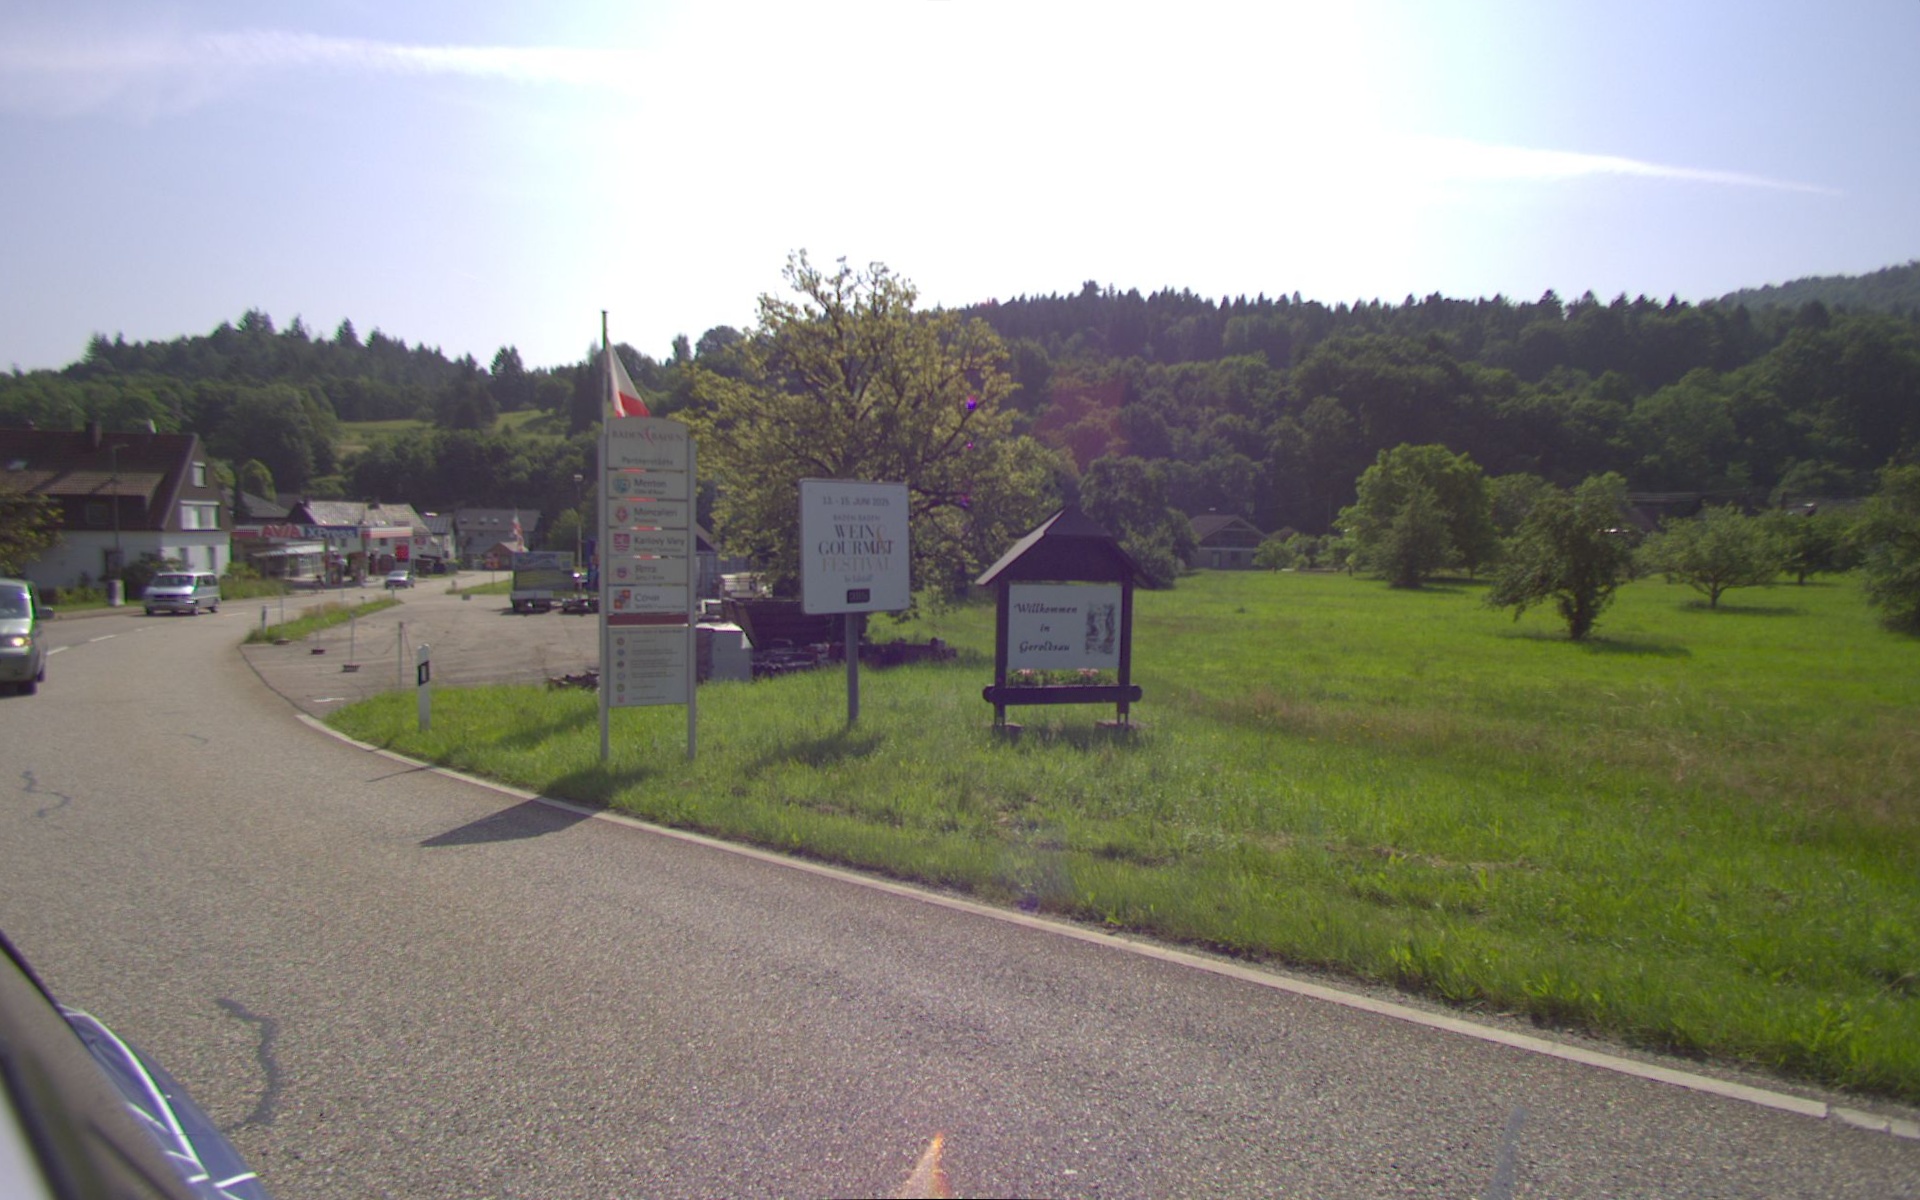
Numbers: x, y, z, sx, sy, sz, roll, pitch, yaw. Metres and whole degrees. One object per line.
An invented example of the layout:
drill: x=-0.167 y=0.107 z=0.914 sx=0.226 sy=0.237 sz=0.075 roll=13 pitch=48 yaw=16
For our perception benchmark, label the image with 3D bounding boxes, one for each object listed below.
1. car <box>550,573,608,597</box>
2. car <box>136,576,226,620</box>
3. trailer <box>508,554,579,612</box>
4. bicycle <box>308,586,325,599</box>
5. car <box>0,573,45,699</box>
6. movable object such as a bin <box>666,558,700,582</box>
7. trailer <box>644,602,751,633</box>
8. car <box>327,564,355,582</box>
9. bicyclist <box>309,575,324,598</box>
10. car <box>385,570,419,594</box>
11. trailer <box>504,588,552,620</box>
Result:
car: x=-28.721 y=-1.158 z=76.452 sx=1.816 sy=1.661 sz=4.892 roll=0 pitch=2 yaw=10
car: x=-35.376 y=-0.148 z=46.102 sx=1.864 sy=1.871 sz=4.719 roll=0 pitch=2 yaw=-20
trailer: x=-21.944 y=-0.935 z=53.318 sx=3.344 sy=2.933 sz=1.890 roll=-2 pitch=2 yaw=-24
bicycle: x=-47.482 y=-0.578 z=74.659 sx=0.678 sy=0.924 sz=1.956 roll=-3 pitch=1 yaw=-22
car: x=-17.317 y=0.527 z=17.498 sx=1.995 sy=1.997 sz=5.052 roll=2 pitch=-1 yaw=-44
movable object such as a bin: x=-37.970 y=-4.127 z=138.987 sx=4.131 sy=3.161 sz=2.204 roll=0 pitch=2 yaw=-2
trailer: x=-10.328 y=0.651 z=39.793 sx=3.877 sy=0.946 sz=1.874 roll=-2 pitch=4 yaw=-19
car: x=-67.755 y=-2.991 z=110.796 sx=1.657 sy=1.829 sz=4.013 roll=-2 pitch=4 yaw=-18
bicyclist: x=-47.567 y=-0.975 z=74.795 sx=0.678 sy=1.645 sz=1.144 roll=-3 pitch=1 yaw=-22
car: x=-47.000 y=-1.532 z=85.297 sx=1.738 sy=1.758 sz=3.994 roll=-1 pitch=4 yaw=-18
trailer: x=-20.620 y=0.165 z=48.452 sx=1.965 sy=1.235 sz=5.565 roll=-2 pitch=3 yaw=-22
